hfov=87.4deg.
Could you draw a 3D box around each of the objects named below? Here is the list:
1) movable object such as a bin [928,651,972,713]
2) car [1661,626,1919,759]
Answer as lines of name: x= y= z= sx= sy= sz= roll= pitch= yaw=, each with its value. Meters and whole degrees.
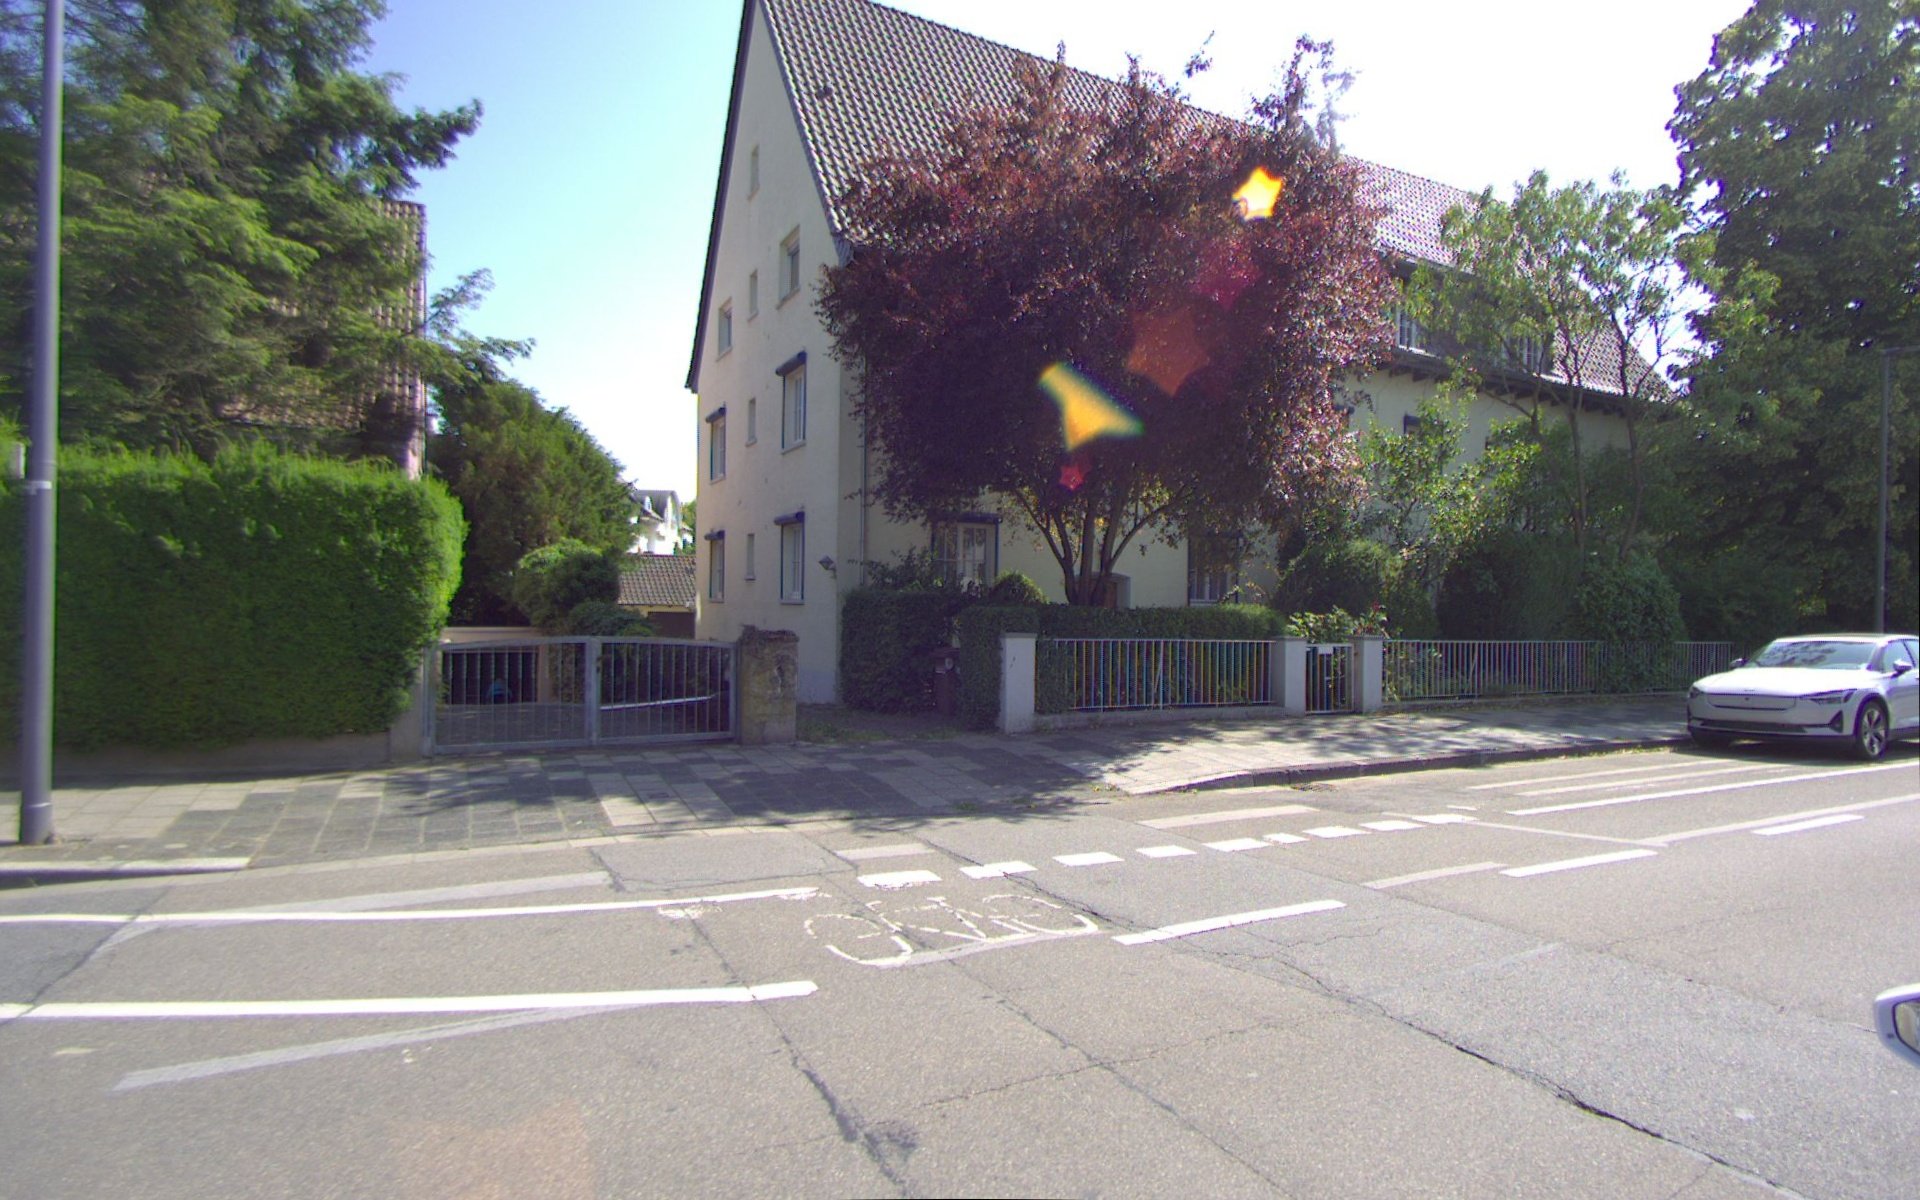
movable object such as a bin: x=-0.140 y=1.145 z=14.089 sx=0.477 sy=0.835 sz=0.432 roll=2 pitch=-1 yaw=-23
car: x=11.483 y=1.112 z=13.184 sx=4.502 sy=1.505 sz=1.827 roll=1 pitch=-2 yaw=-27
